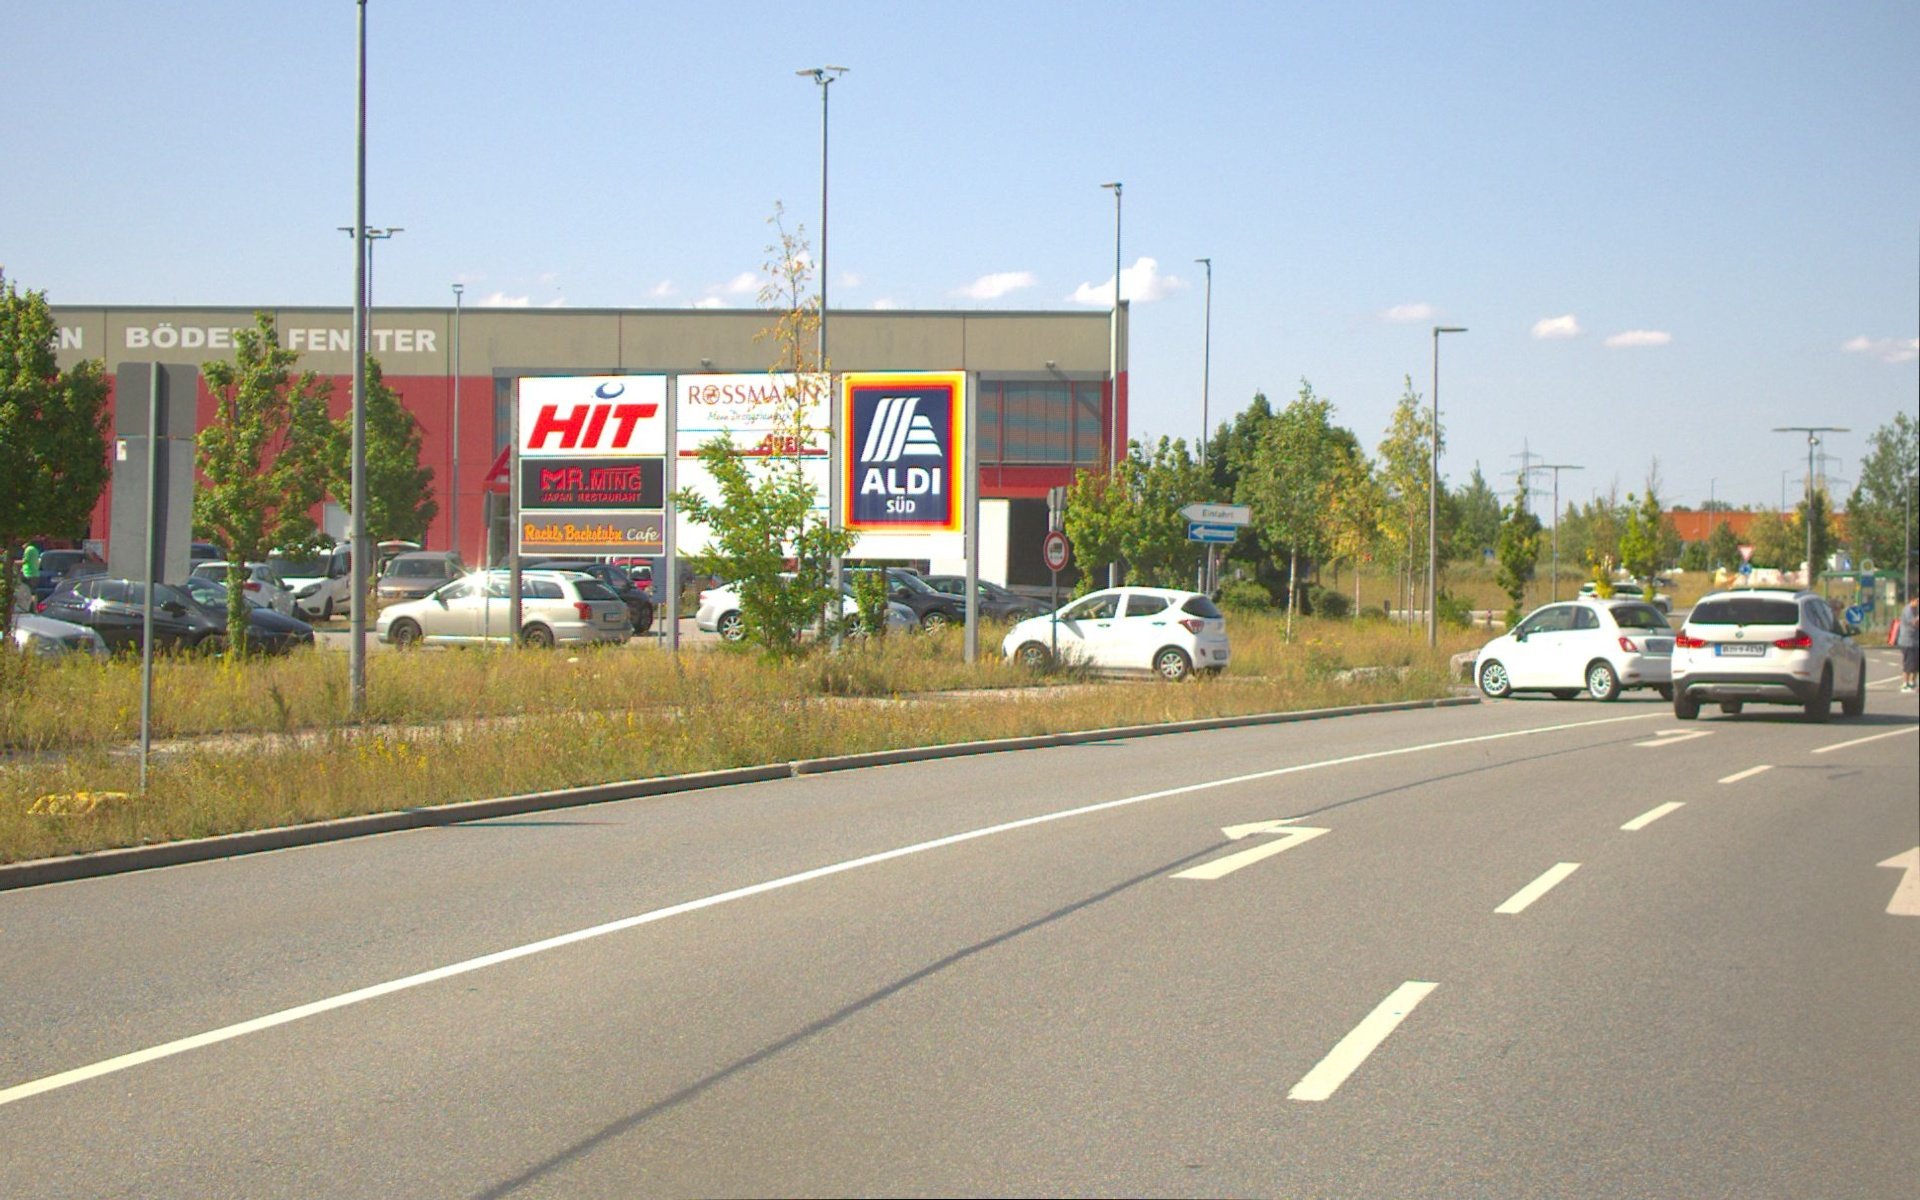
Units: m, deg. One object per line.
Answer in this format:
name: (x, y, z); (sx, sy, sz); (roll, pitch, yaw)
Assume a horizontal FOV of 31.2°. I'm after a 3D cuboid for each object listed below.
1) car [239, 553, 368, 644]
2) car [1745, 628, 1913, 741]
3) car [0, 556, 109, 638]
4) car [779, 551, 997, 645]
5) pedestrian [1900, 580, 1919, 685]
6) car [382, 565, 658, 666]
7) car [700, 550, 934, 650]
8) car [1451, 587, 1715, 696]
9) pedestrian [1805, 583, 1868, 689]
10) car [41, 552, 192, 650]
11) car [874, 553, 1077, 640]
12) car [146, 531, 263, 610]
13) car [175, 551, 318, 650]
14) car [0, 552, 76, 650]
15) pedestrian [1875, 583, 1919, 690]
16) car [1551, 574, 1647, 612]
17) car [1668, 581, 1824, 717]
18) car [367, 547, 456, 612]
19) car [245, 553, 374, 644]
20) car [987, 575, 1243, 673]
car: (-15.065, -0.045, 79.104); (1.993, 2.031, 4.484); (0, 0, 2)
car: (13.001, 1.227, 51.288); (1.738, 1.546, 3.778); (0, 0, 25)
car: (-23.261, -0.095, 87.485); (1.993, 2.031, 4.484); (0, 0, 2)
car: (-1.575, -0.044, 76.006); (4.472, 2.031, 1.999); (0, 0, 13)
pedestrian: (15.512, 0.514, 54.900); (0.709, 1.659, 0.666); (0, 1, -42)
car: (-7.711, 0.243, 60.128); (4.477, 1.709, 1.997); (0, 0, 29)
car: (-2.952, -0.006, 71.188); (4.472, 2.031, 1.999); (0, 0, 13)
car: (9.243, 0.584, 51.227); (1.736, 1.546, 3.783); (0, 0, -33)
pedestrian: (13.942, 0.567, 54.697); (0.709, 1.659, 0.666); (0, 1, -42)
car: (-17.922, 0.003, 73.218); (1.993, 2.031, 4.484); (0, 0, 2)
car: (0.379, -0.087, 81.254); (4.472, 2.031, 1.999); (0, 0, 13)
car: (-19.918, -0.780, 90.799); (1.993, 2.031, 4.484); (0, 0, 2)
car: (-15.111, 0.000, 73.039); (1.993, 2.031, 4.484); (0, 0, 2)
car: (-20.592, 0.004, 73.765); (1.993, 2.031, 4.484); (0, 0, 2)
pedestrian: (14.964, 0.571, 54.378); (0.709, 1.659, 0.666); (0, 1, -42)
car: (30.099, -0.328, 161.936); (3.986, 1.722, 2.001); (0, 1, -23)
car: (9.574, 0.546, 41.672); (1.737, 1.546, 4.567); (0, 0, 14)
car: (-17.500, -0.672, 109.905); (1.993, 2.031, 4.484); (0, 0, 2)
car: (-14.936, -0.046, 79.114); (1.993, 2.031, 4.484); (0, 0, 2)
car: (2.509, 0.365, 55.613); (3.775, 1.546, 1.739); (0, 0, 21)
